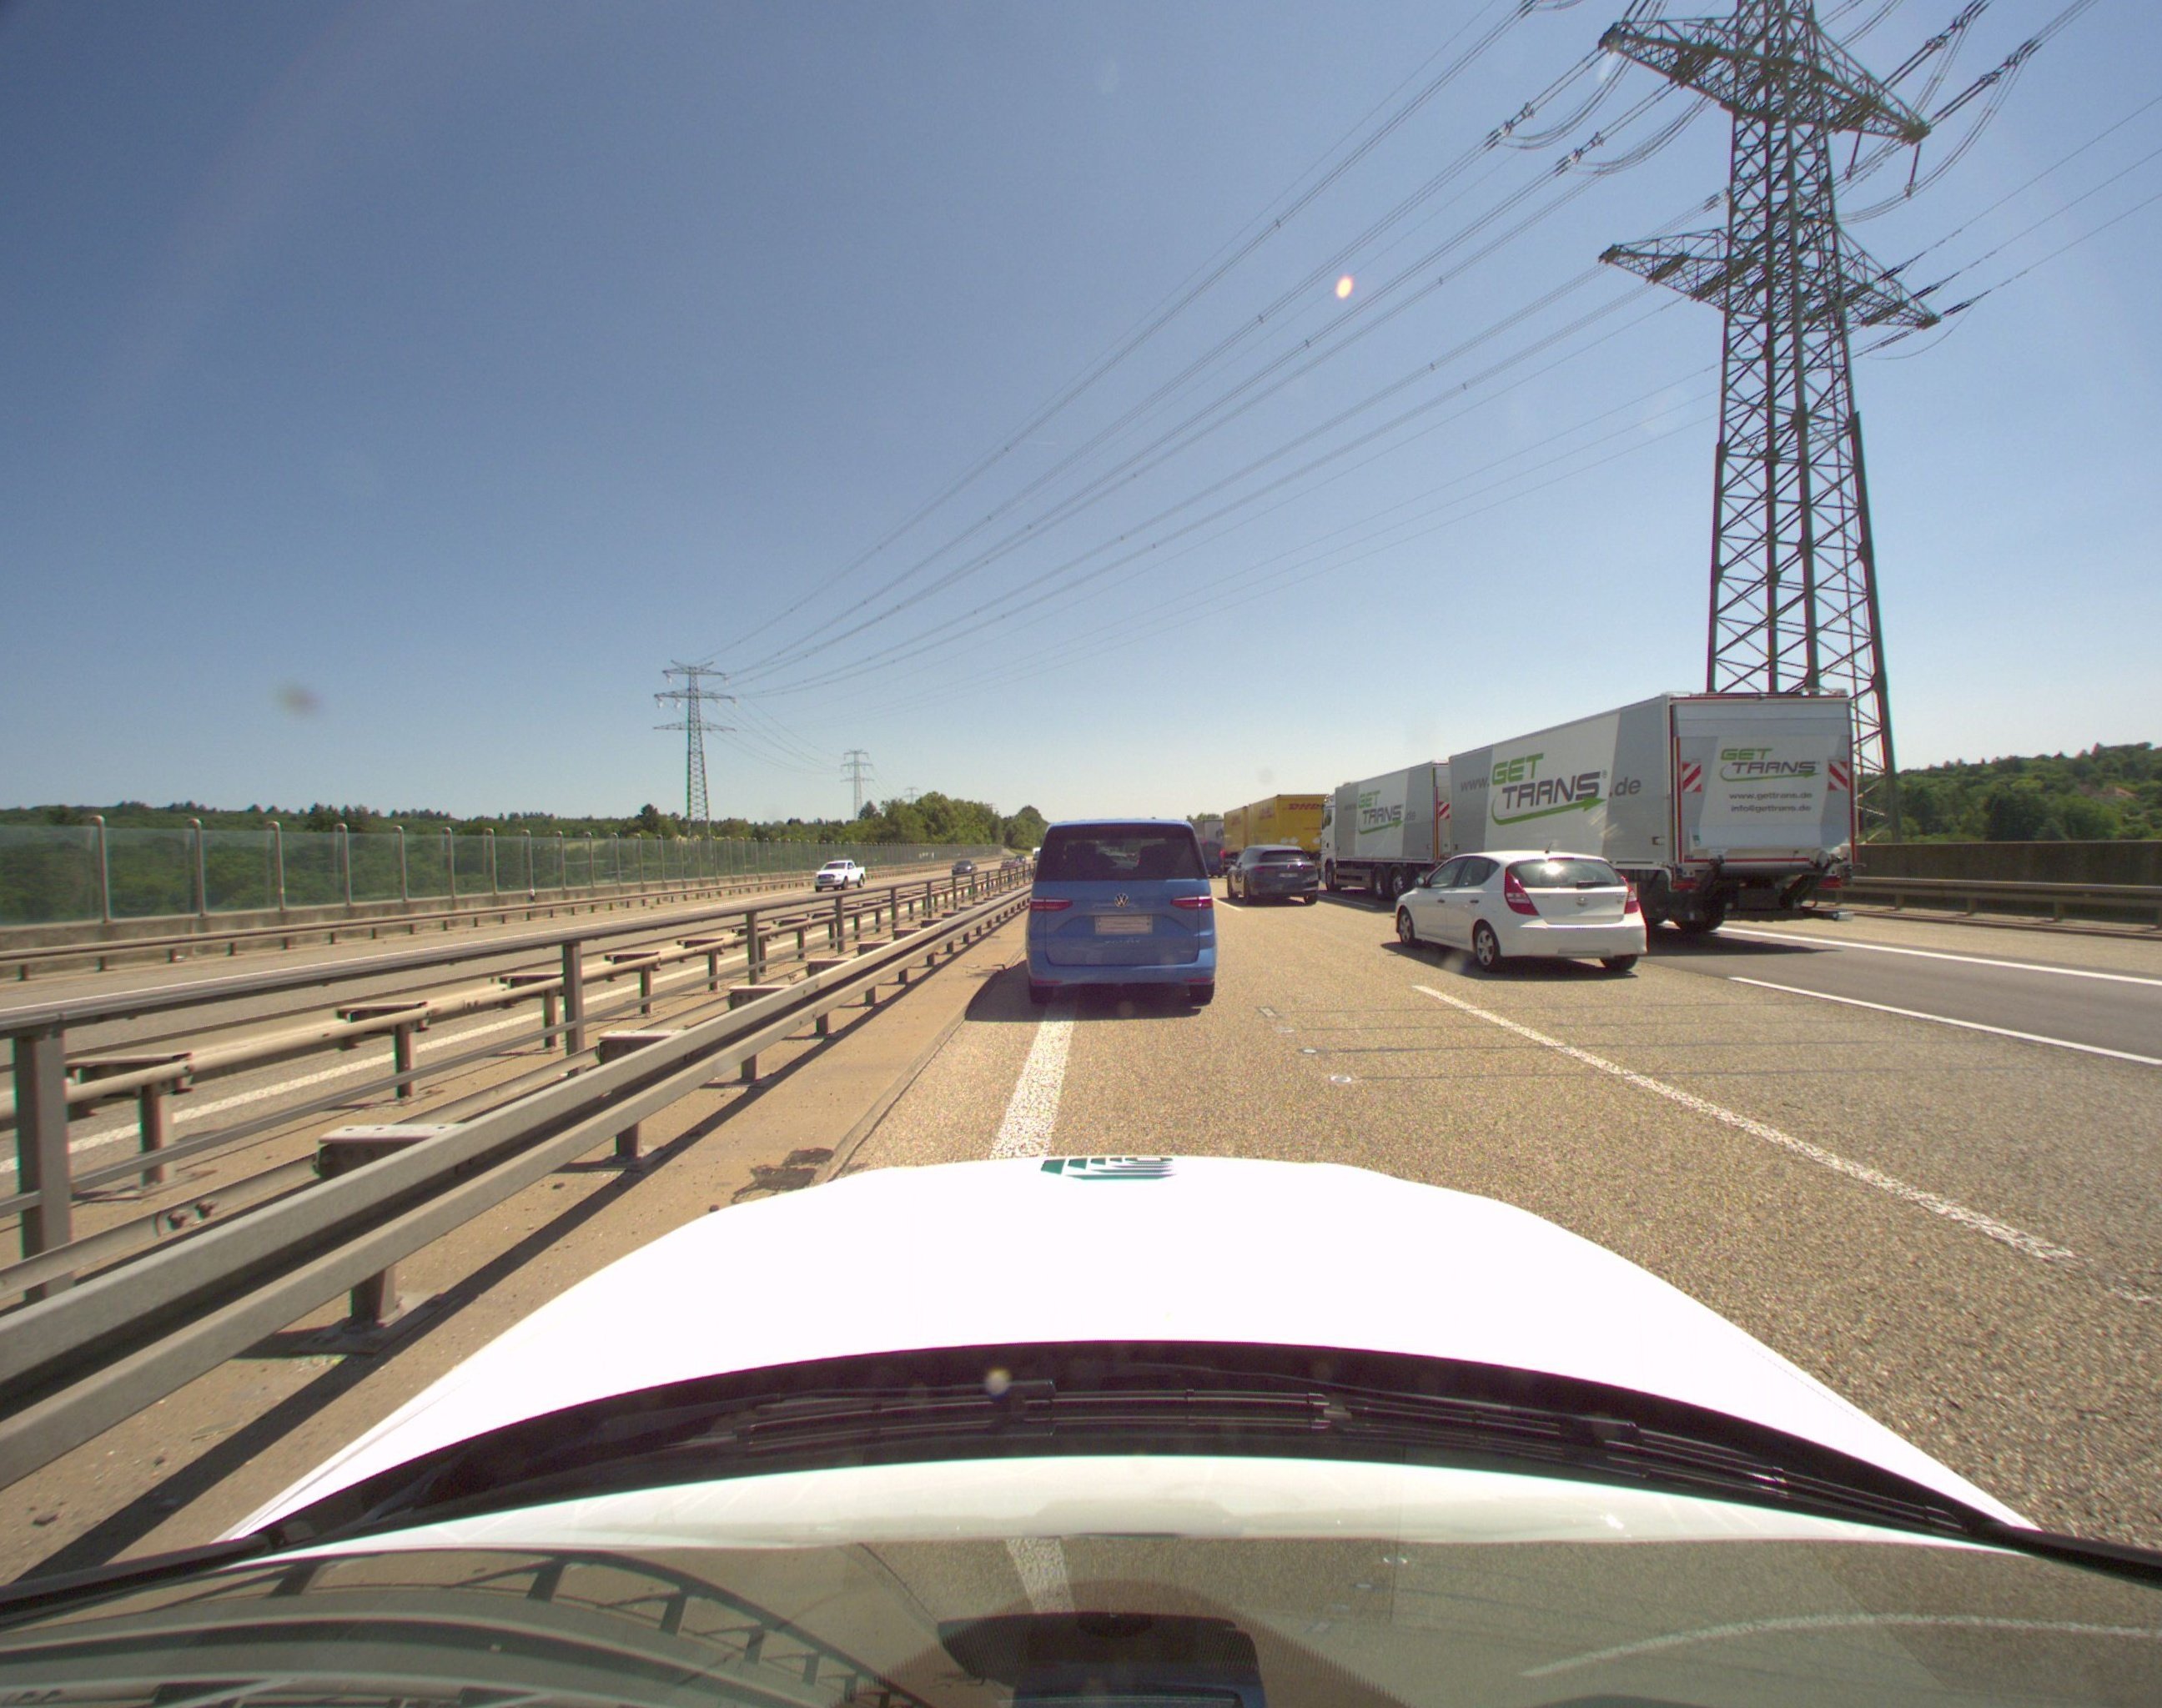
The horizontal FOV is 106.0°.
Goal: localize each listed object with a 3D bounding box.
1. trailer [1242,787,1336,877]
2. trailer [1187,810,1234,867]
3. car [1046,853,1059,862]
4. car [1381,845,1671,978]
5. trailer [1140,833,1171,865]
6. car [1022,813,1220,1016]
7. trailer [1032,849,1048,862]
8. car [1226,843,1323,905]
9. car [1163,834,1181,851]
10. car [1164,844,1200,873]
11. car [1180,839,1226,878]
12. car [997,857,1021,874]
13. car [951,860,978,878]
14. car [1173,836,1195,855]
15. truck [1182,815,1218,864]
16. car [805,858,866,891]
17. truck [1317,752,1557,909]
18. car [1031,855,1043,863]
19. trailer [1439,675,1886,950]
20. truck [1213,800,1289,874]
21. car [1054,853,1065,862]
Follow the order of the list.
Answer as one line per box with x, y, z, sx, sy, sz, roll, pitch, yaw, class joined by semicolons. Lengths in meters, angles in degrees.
10.661;-1.019;42.709;2.854;4.239;9.015;0;0;2;trailer
11.139;-1.267;71.122;2.627;4.516;11.306;0;0;2;trailer
-4.771;0.622;135.908;1.784;1.478;3.991;-2;0;2;car
5.810;0.642;11.344;1.782;1.455;4.295;-1;0;2;car
7.565;-0.475;83.618;2.559;2.990;10.668;0;0;2;trailer
0.438;0.556;9.535;1.813;1.857;4.076;0;0;2;car
-8.320;0.325;164.754;2.484;2.549;6.777;-3;0;2;trailer
5.599;0.534;24.108;1.954;1.644;4.295;-1;0;2;car
11.817;-1.478;106.066;1.986;2.013;4.463;-2;0;2;car
6.637;0.288;53.744;1.986;1.816;4.002;-1;0;2;car
6.652;0.231;44.820;1.954;1.993;4.295;-1;0;2;car
-6.324;1.023;72.055;1.592;1.317;4.343;-3;0;1;car
-10.001;1.236;70.108;1.591;1.350;4.181;-4;0;2;car
11.177;-0.892;88.689;1.986;2.014;4.002;0;0;2;car
11.390;-1.289;78.321;2.657;4.484;6.853;0;0;2;truck
-15.113;1.216;50.446;1.986;1.885;5.257;-1;0;1;car
9.959;-0.574;24.660;2.647;3.648;11.014;-1;0;1;truck
-8.614;0.905;159.005;1.769;1.407;4.684;-4;0;2;car
9.719;-0.578;15.160;2.688;3.700;8.017;-1;0;1;trailer
10.756;-0.983;52.744;2.826;4.243;11.014;0;0;1;truck
-4.043;0.673;155.156;1.662;1.448;4.003;-5;0;3;car
